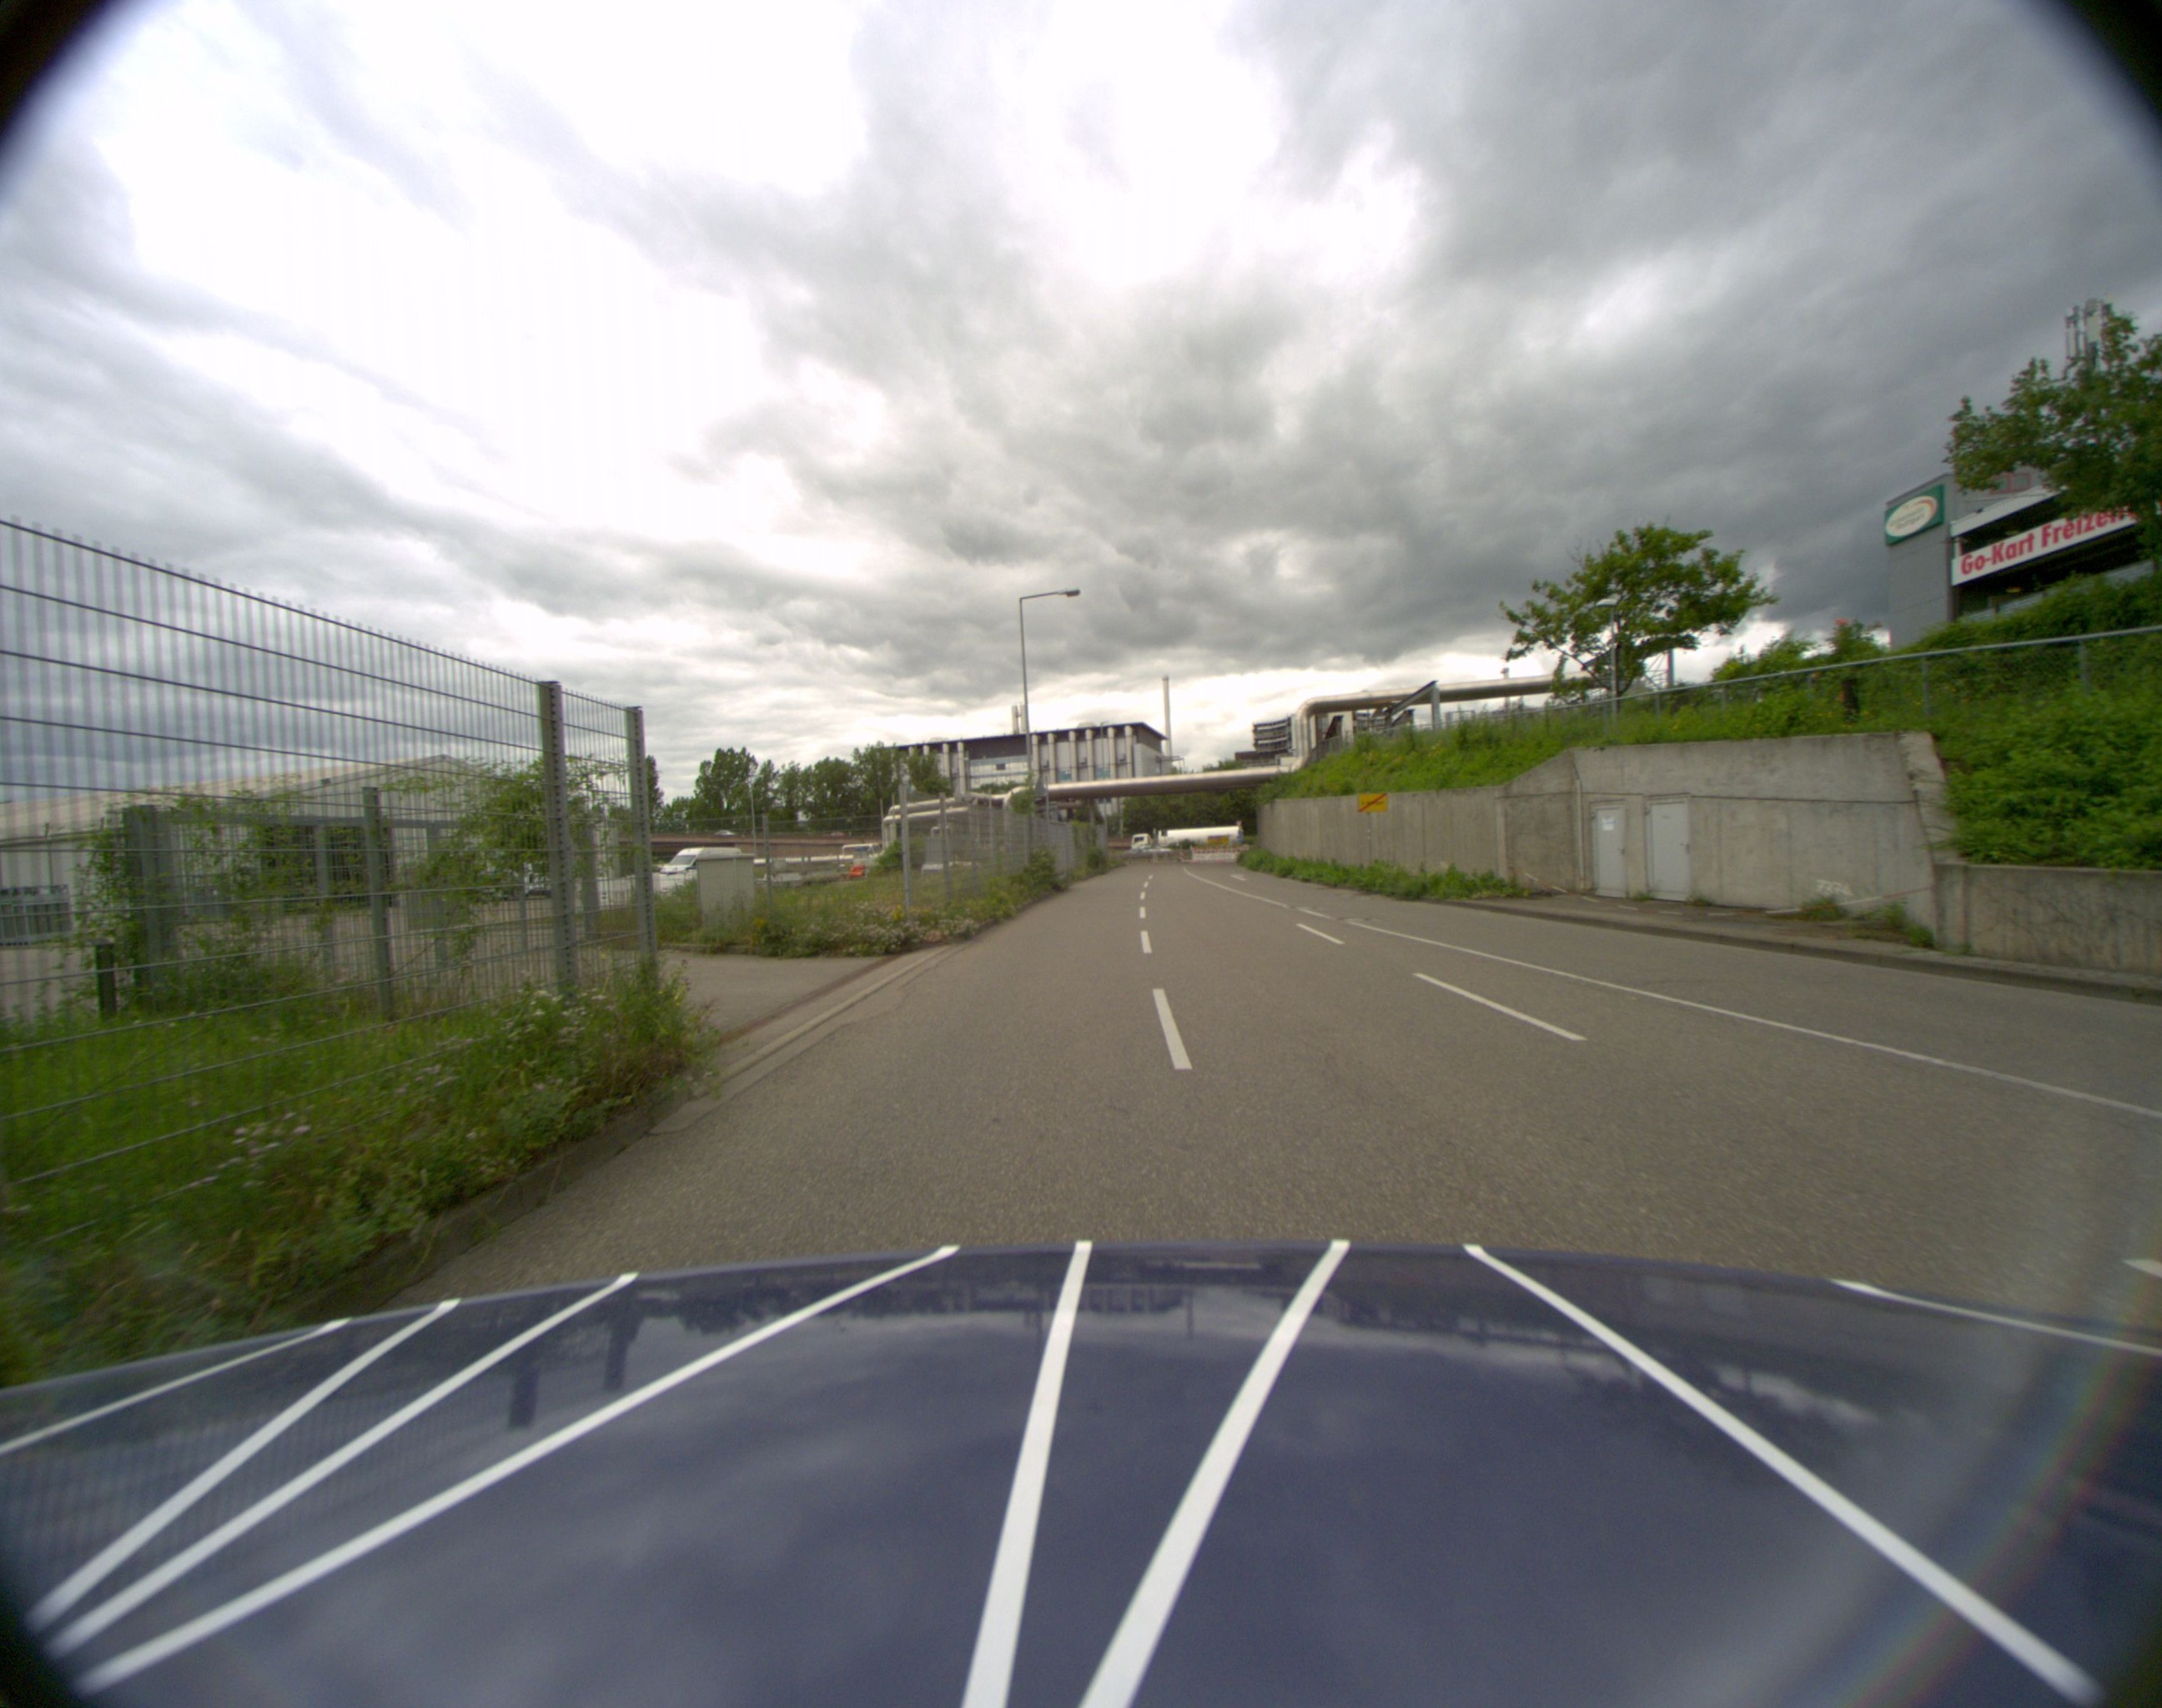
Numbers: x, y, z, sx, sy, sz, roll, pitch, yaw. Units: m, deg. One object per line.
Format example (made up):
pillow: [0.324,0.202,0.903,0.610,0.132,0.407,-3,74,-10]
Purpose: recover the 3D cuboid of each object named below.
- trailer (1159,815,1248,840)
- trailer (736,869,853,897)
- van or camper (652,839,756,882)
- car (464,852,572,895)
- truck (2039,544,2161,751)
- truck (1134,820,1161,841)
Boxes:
trailer: [15.594,-3.323,96.953,10.961,2.680,2.222,-2,1,10]
trailer: [-12.079,1.211,32.421,2.301,0.811,4.694,-2,1,15]
van or camper: [-25.003,0.356,50.706,2.570,2.534,6.133,-2,1,18]
car: [-29.226,0.995,39.487,4.333,2.002,2.001,-2,1,11]
truck: [22.890,-4.043,15.534,7.877,3.519,3.044,-4,4,-31]
truck: [8.626,-3.020,98.214,3.076,2.630,2.174,-2,1,11]
